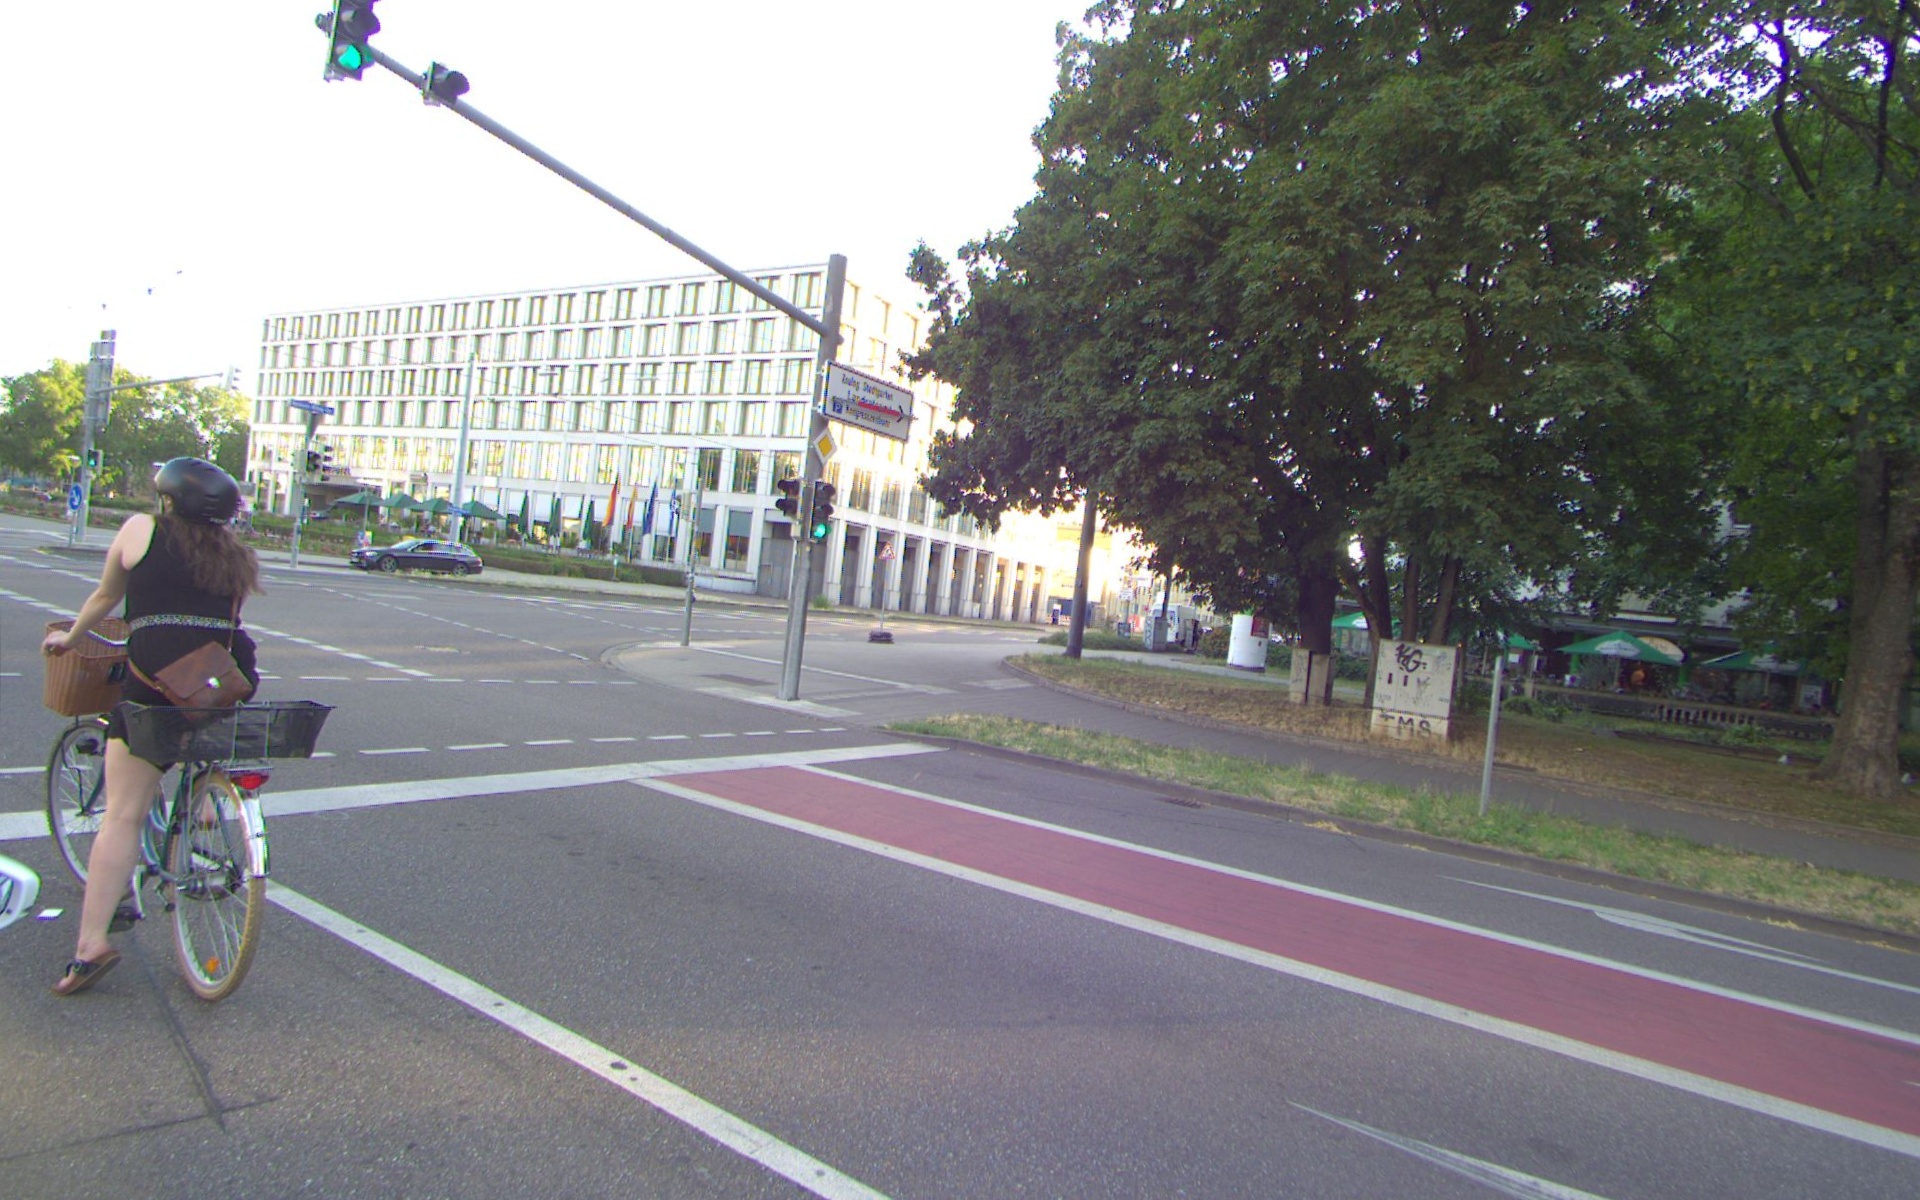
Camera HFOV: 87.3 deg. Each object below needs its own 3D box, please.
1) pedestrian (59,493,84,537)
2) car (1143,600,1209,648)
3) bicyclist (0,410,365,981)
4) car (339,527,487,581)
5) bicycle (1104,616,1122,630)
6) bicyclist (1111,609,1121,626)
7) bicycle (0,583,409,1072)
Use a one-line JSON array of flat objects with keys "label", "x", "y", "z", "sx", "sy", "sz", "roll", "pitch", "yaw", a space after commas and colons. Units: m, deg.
[{"label": "pedestrian", "x": -33.319, "y": -3.185, "z": 37.722, "sx": 0.402, "sy": 1.559, "sz": 0.491, "roll": 7, "pitch": 2, "yaw": 31}, {"label": "car", "x": 11.988, "y": 1.368, "z": 55.599, "sx": 1.967, "sy": 2.318, "sz": 4.605, "roll": 6, "pitch": 0, "yaw": 31}, {"label": "bicyclist", "x": -2.687, "y": 0.254, "z": 3.411, "sx": 0.982, "sy": 1.655, "sz": 0.600, "roll": 7, "pitch": 0, "yaw": 32}, {"label": "car", "x": -22.087, "y": -1.830, "z": 40.805, "sx": 1.968, "sy": 1.534, "sz": 4.826, "roll": 7, "pitch": 0, "yaw": 34}, {"label": "bicycle", "x": 14.033, "y": 2.077, "z": 92.306, "sx": 0.592, "sy": 1.120, "sz": 2.775, "roll": 7, "pitch": 0, "yaw": 29}, {"label": "bicyclist", "x": 14.362, "y": 1.611, "z": 92.744, "sx": 0.567, "sy": 1.556, "sz": 0.708, "roll": 7, "pitch": 1, "yaw": 29}, {"label": "bicycle", "x": -2.815, "y": 0.620, "z": 3.465, "sx": 1.971, "sy": 1.146, "sz": 0.612, "roll": 7, "pitch": -1, "yaw": 32}]
